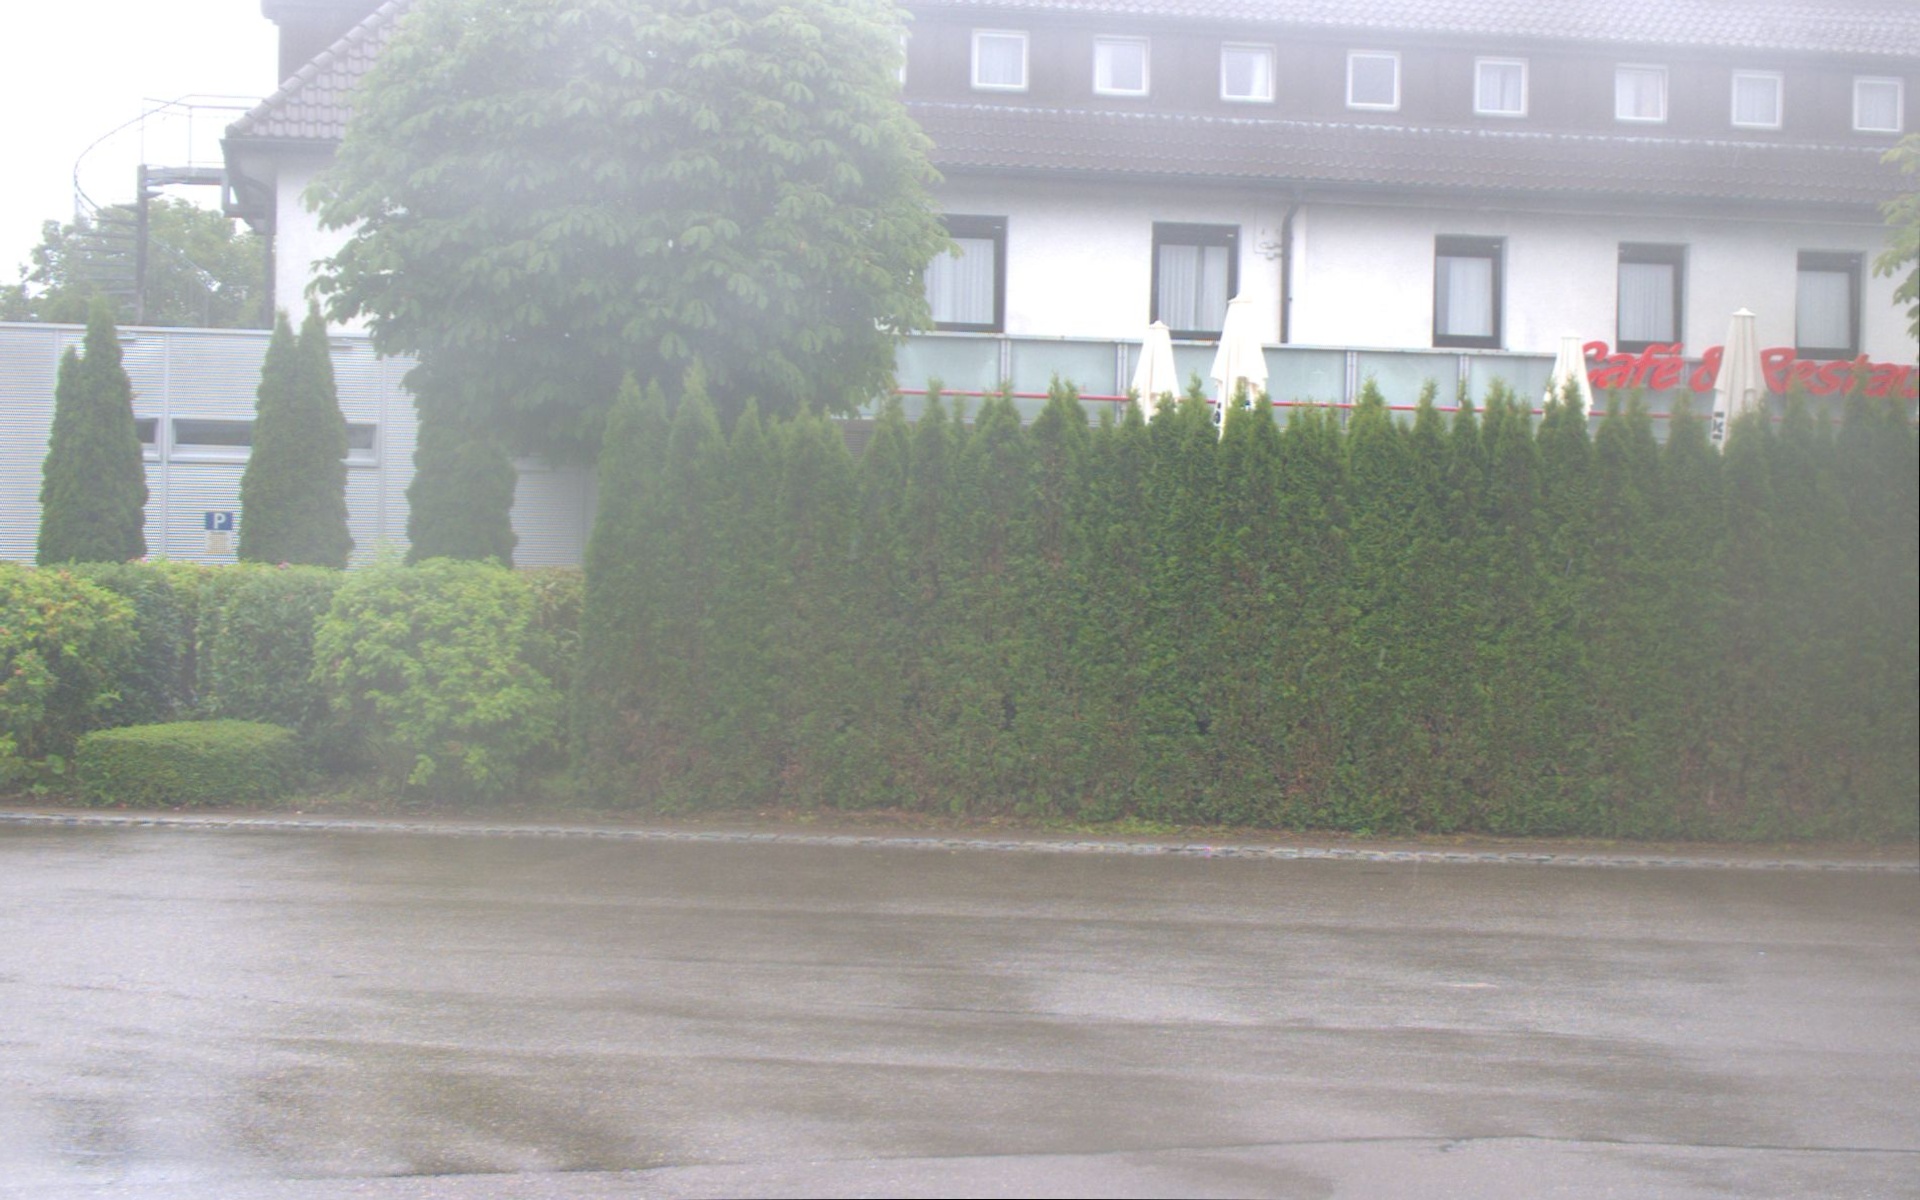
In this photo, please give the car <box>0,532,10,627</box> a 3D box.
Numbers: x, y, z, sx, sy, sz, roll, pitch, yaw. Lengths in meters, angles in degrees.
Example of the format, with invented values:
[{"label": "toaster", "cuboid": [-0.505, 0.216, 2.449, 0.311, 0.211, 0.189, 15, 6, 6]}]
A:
[{"label": "car", "cuboid": [-17.325, -0.328, 54.627, 4.174, 1.492, 1.718, 0, 1, -11]}]
